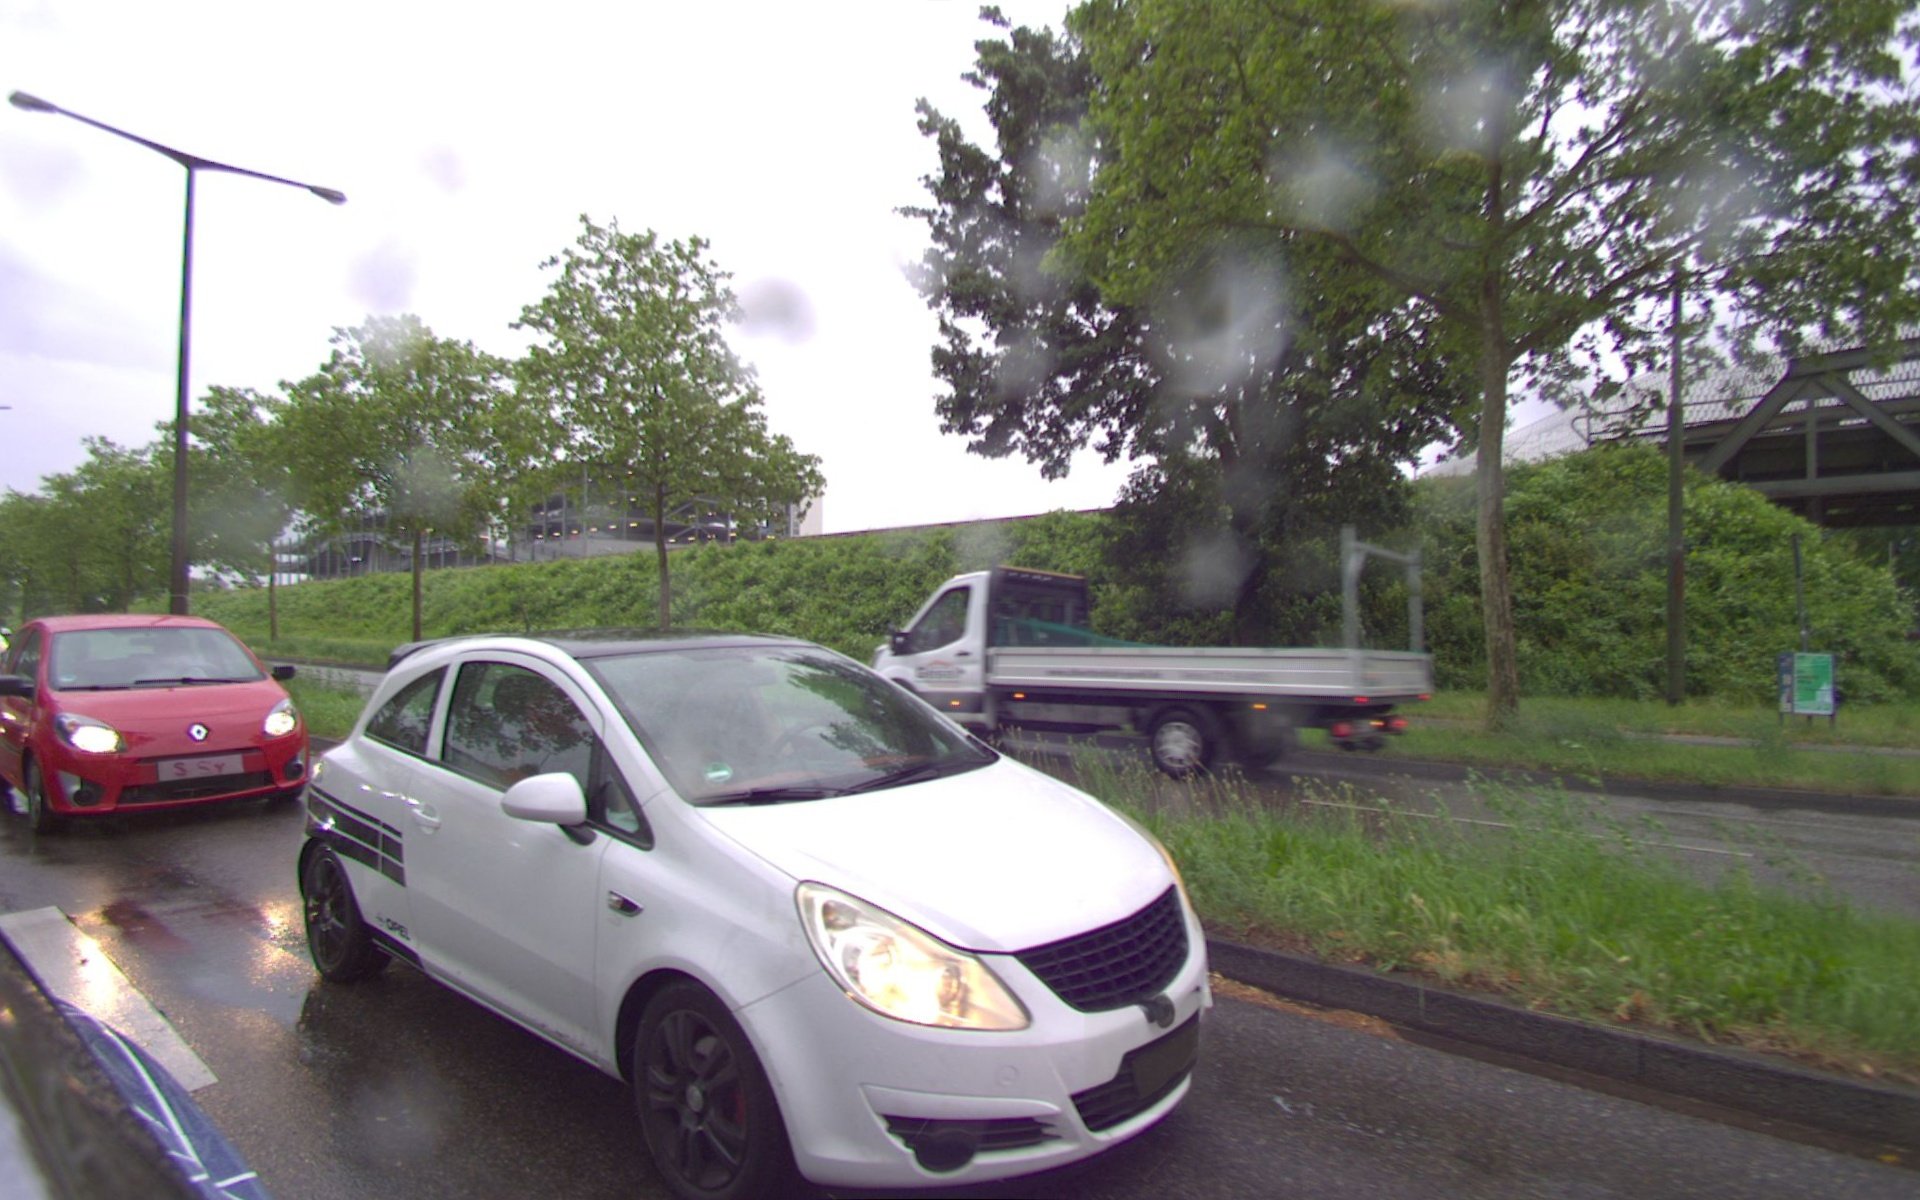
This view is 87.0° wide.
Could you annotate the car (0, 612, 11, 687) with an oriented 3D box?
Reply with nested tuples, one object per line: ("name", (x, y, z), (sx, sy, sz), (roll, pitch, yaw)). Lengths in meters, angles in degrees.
("car", (-22.906, 1.125, 22.776), (4.144, 1.624, 1.808), (-1, 0, 40))

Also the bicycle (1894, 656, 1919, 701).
("bicycle", (26.482, 2.106, 26.428), (1.185, 1.213, 3.443), (1, -2, 6))

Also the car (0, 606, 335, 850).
("car", (-6.754, 0.823, 8.209), (4.089, 1.476, 1.702), (-1, 0, 41))

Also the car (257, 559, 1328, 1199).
("car", (-0.951, 0.648, 3.724), (4.007, 1.387, 1.662), (-1, 0, 39))

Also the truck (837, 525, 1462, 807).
("truck", (1.798, 0.638, 11.776), (6.864, 2.383, 2.448), (-1, -2, 41))
